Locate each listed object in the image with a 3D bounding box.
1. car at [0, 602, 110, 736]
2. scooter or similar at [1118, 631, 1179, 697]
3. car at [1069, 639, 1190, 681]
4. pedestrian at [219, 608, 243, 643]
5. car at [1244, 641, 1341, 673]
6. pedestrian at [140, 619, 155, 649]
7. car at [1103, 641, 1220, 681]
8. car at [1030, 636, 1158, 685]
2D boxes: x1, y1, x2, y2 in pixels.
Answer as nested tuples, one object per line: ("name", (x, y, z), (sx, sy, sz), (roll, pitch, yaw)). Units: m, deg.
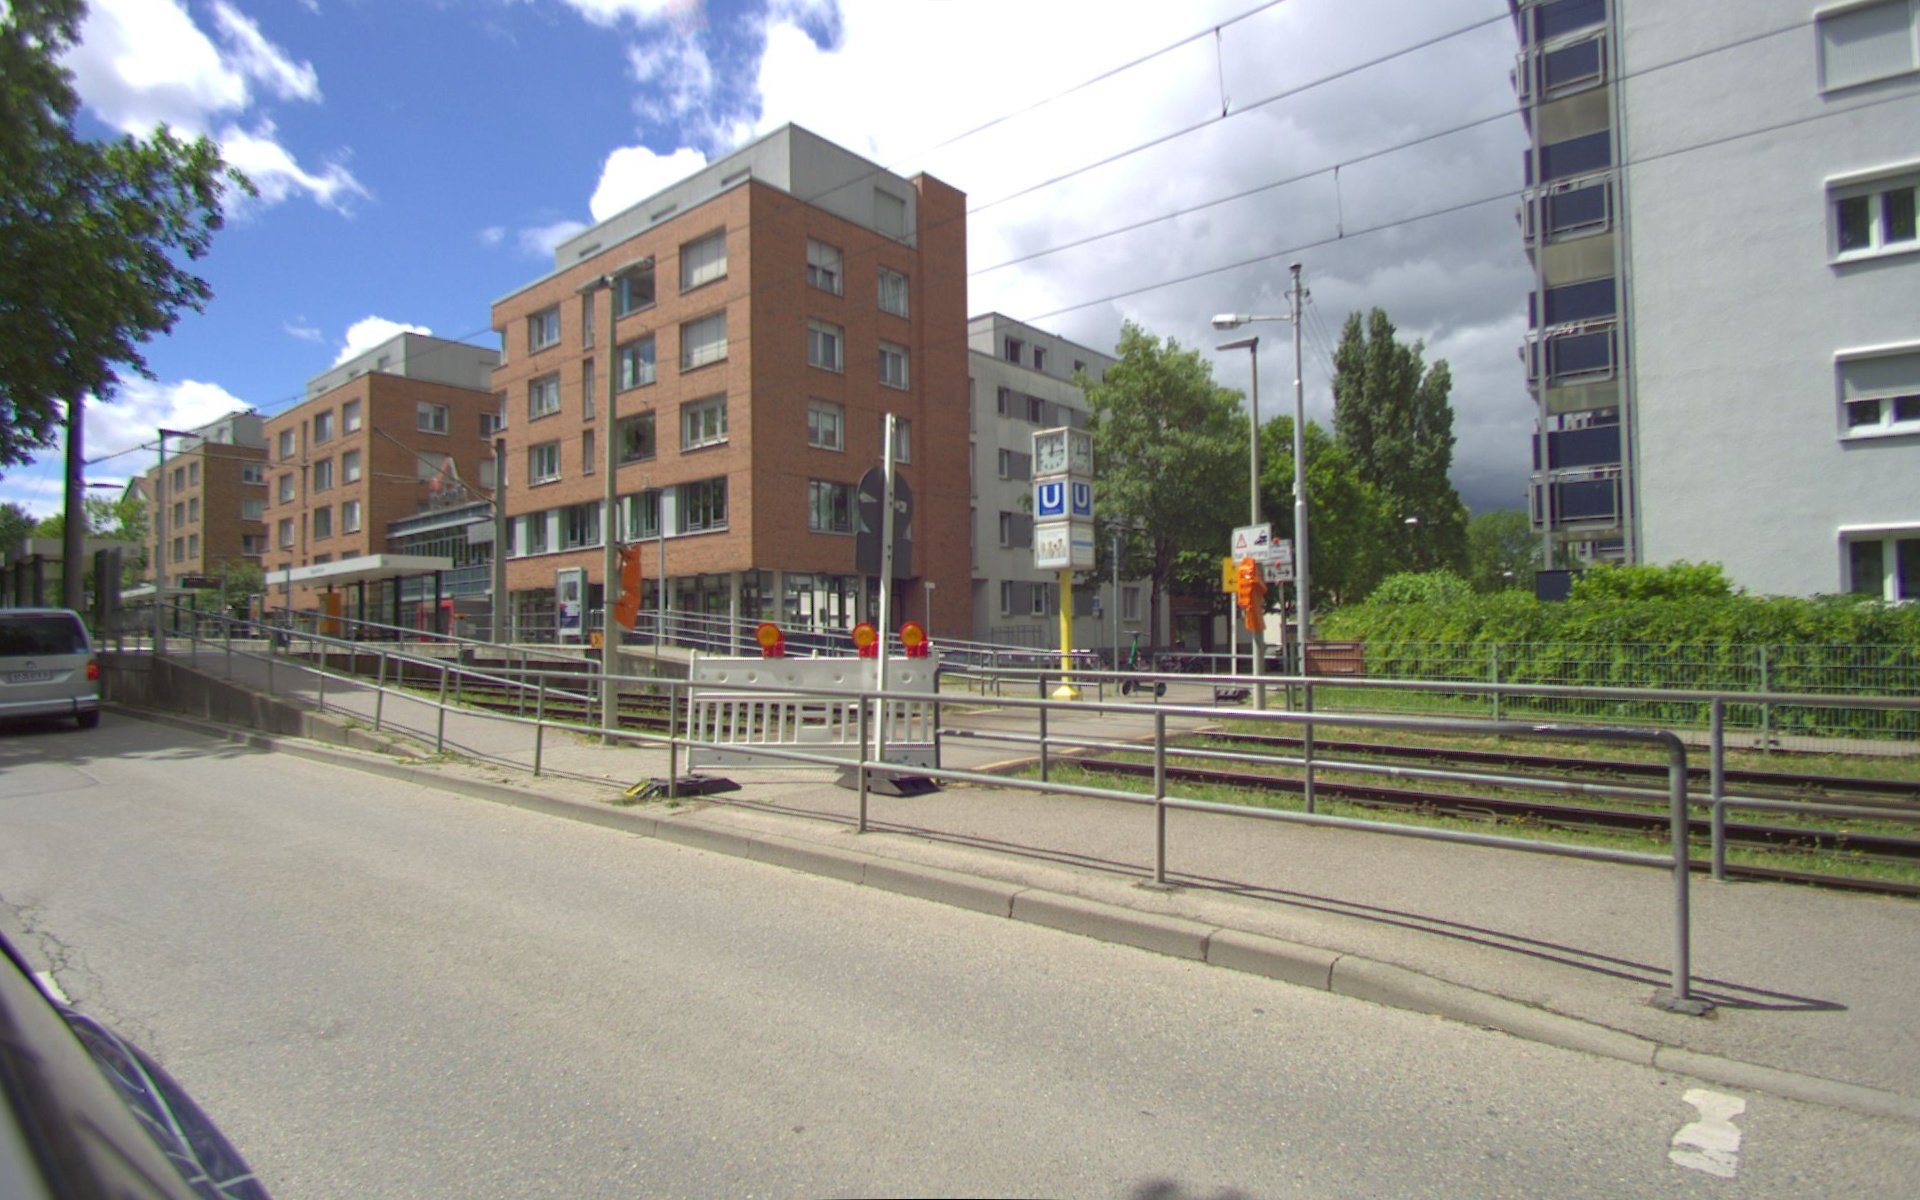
("car", (-14.933, 1.031, 15.766), (4.640, 1.854, 1.736), (-2, -1, 39))
("scooter or similar", (3.693, 1.236, 19.807), (1.281, 1.263, 0.466), (2, -3, -40))
("car", (6.074, 2.124, 36.637), (4.001, 1.437, 1.823), (-2, -3, 44))
("pedestrian", (-34.735, 1.233, 48.206), (0.815, 1.641, 0.743), (-2, -1, 40))
("car", (15.847, 2.683, 48.315), (4.001, 1.437, 1.823), (-2, -3, 44))
("pedestrian", (-47.696, 1.992, 59.417), (0.527, 1.777, 0.529), (-2, -3, 37))
("car", (7.632, 2.296, 38.560), (4.001, 1.437, 1.823), (-2, -3, 44))
("car", (4.544, 2.029, 34.696), (3.999, 1.564, 1.874), (-2, -3, 43))
